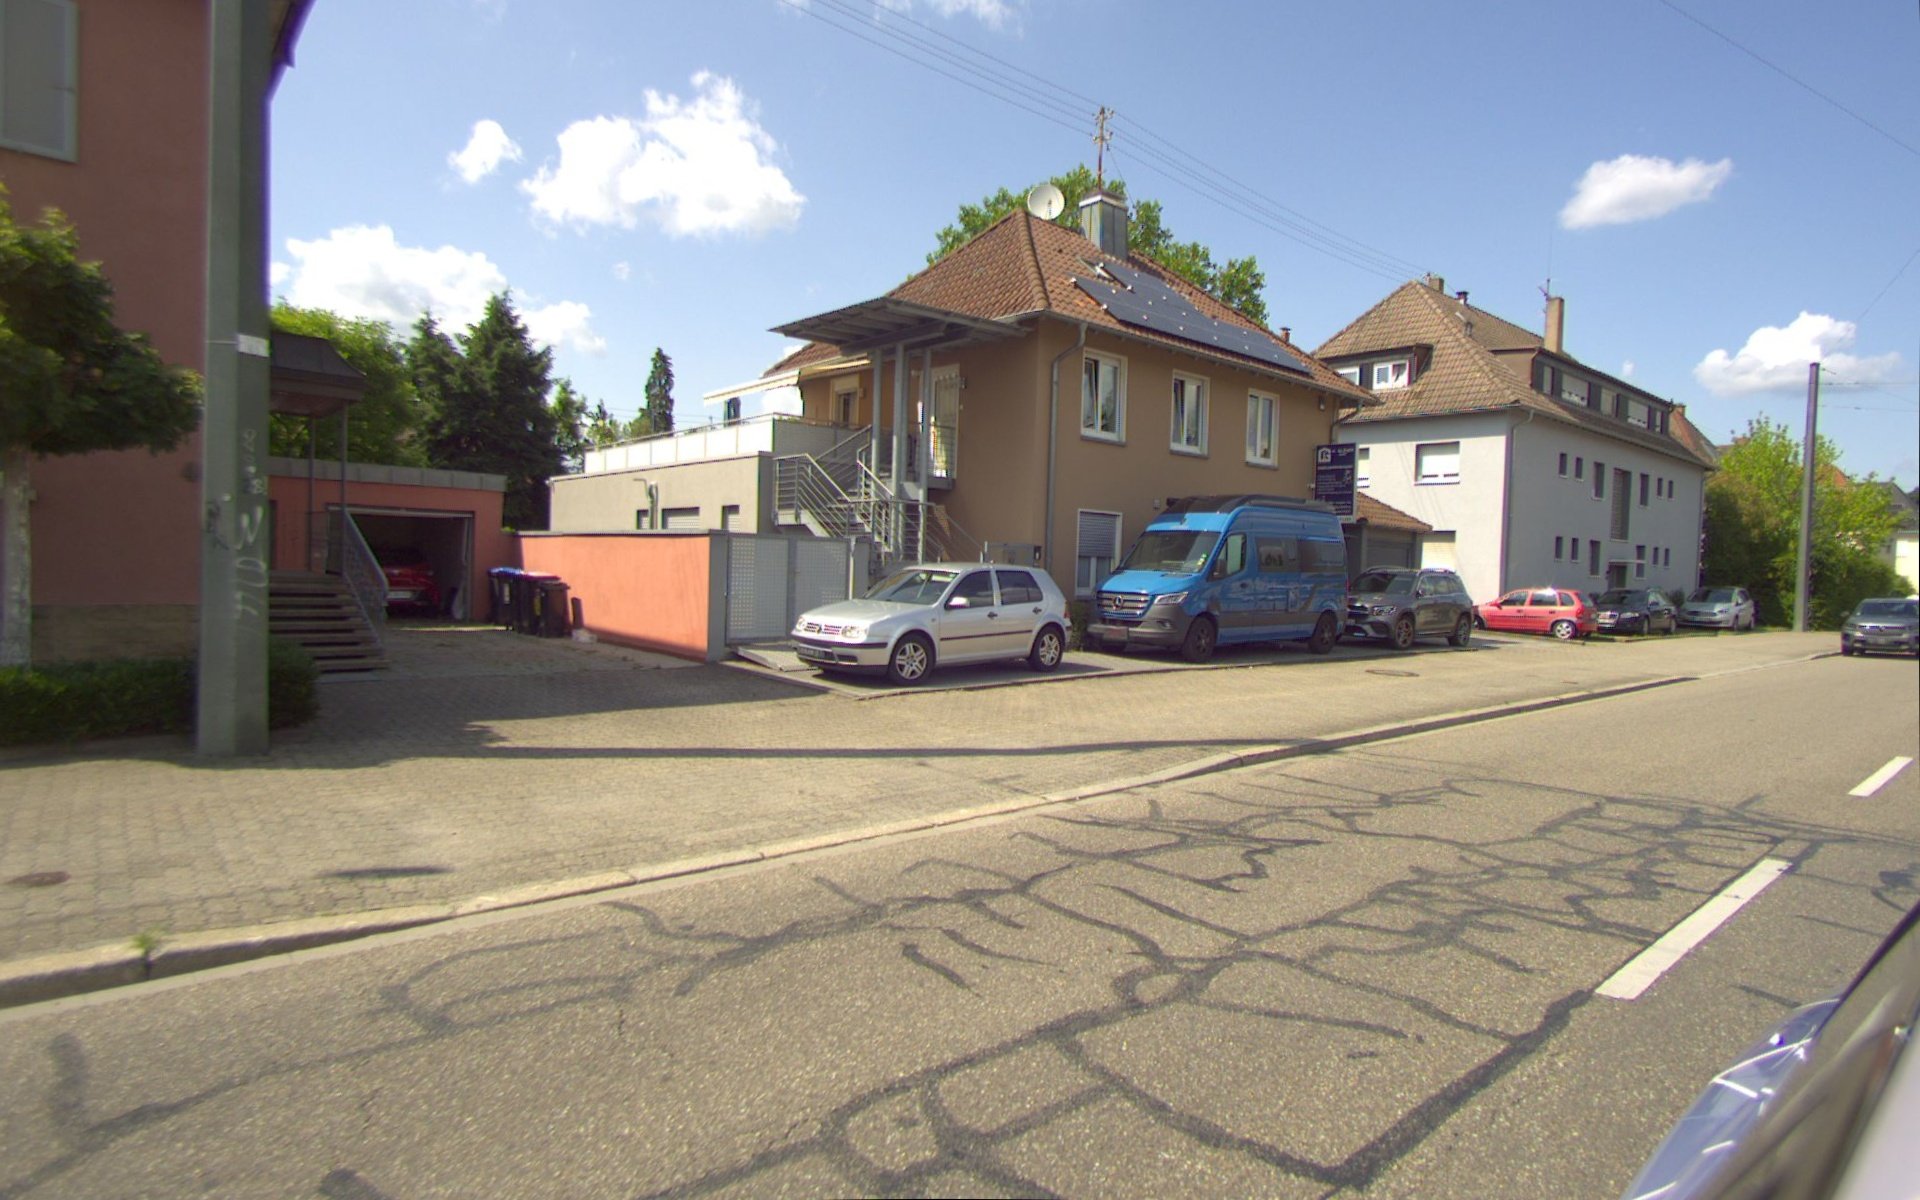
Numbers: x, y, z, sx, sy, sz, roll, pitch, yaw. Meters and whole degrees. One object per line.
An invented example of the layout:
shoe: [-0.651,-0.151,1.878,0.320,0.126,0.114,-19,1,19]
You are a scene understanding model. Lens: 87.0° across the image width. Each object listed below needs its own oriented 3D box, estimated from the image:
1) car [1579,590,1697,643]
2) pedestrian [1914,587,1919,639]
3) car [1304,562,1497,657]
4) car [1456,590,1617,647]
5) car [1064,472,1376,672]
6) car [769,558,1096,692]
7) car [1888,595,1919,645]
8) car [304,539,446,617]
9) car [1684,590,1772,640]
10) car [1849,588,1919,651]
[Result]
car: [21.468,0.496,31.982,4.771,1.441,1.803,1,3,-40]
pedestrian: [37.057,0.527,38.333,1.071,1.969,1.115,0,2,-38]
car: [9.528,0.198,21.710,4.778,1.732,1.841,1,4,-41]
car: [16.496,0.479,29.090,1.697,1.397,3.656,0,3,-41]
car: [4.768,-0.441,17.850,6.133,2.966,2.156,0,1,-40]
car: [-0.211,0.243,13.223,4.279,1.426,1.651,0,3,-45]
car: [30.618,0.618,31.728,4.564,1.472,1.817,0,1,-42]
car: [-11.755,-0.478,20.241,1.772,1.370,3.549,1,3,-42]
car: [29.020,0.518,38.205,4.688,1.667,1.760,0,4,-42]
car: [25.623,0.489,27.412,4.180,1.579,1.810,0,1,-42]
